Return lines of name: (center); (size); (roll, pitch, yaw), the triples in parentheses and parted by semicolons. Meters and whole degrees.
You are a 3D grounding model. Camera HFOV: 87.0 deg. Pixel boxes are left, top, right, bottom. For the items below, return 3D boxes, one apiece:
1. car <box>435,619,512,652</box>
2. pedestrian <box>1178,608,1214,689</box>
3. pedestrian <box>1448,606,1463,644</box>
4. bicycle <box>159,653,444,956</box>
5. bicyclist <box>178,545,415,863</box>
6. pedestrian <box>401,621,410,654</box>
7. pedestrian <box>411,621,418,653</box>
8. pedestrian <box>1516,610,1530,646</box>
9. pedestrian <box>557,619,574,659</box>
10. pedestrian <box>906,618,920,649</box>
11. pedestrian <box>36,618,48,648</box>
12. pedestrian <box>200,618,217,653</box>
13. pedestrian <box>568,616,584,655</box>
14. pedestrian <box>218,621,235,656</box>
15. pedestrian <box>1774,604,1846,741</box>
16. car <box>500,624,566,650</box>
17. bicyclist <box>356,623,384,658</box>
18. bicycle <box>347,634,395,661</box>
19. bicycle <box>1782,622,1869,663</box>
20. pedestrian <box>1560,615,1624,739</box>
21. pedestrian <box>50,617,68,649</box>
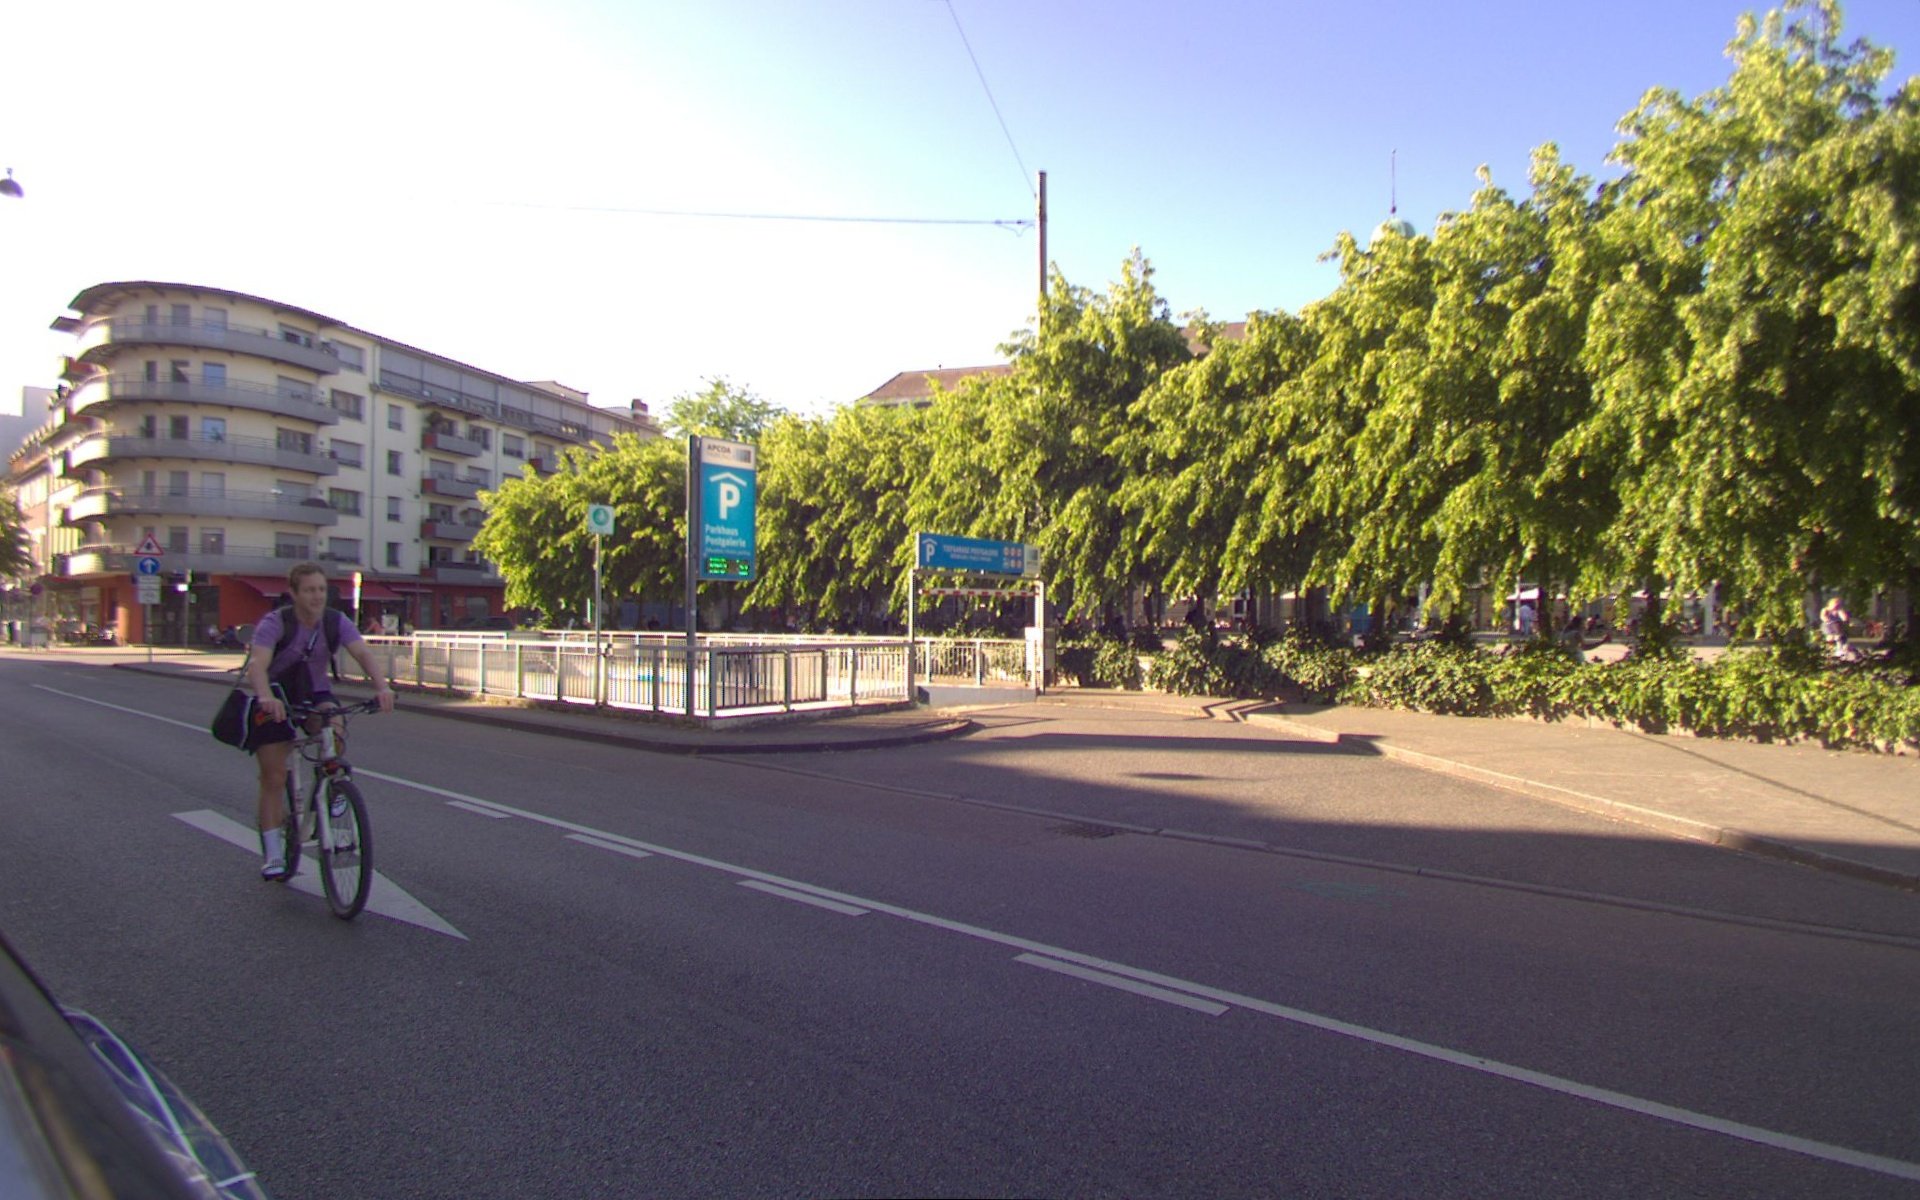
car: (-30.432, 2.203, 63.439); (1.938, 1.927, 4.403); (-1, -1, 16)
pedestrian: (5.551, 1.123, 23.798); (0.674, 1.870, 0.577); (-1, -1, 30)
pedestrian: (24.201, 1.210, 49.437); (0.599, 1.806, 0.576); (-1, -1, 31)
bicycle: (-3.446, 0.923, 5.237); (1.773, 1.242, 0.788); (-1, -1, 41)
bicyclist: (-3.442, 0.481, 5.244); (1.007, 1.445, 0.788); (-1, -1, 41)
pedestrian: (-29.109, 1.967, 53.114); (0.318, 1.680, 0.362); (0, -1, -17)
pedestrian: (-28.903, 1.967, 53.629); (0.266, 1.680, 0.362); (0, -1, -17)
pedestrian: (28.677, 1.440, 51.538); (0.598, 1.806, 0.577); (-1, -1, 27)
pedestrian: (-18.086, 1.786, 46.449); (0.574, 1.806, 0.602); (0, 0, -5)
pedestrian: (-2.711, 1.920, 58.157); (0.578, 1.806, 0.597); (-1, 0, 20)
pedestrian: (-47.363, 1.718, 52.230); (0.515, 1.541, 0.371); (-1, -1, 37)
pedestrian: (-37.737, 1.784, 50.841); (0.642, 1.721, 0.568); (-2, -2, 43)
pedestrian: (-17.898, 1.647, 47.191); (0.574, 1.806, 0.602); (0, 0, -5)
pedestrian: (-36.869, 1.927, 50.865); (0.642, 1.721, 0.568); (-2, -2, 43)
pedestrian: (11.959, 0.997, 14.259); (0.597, 1.870, 0.578); (-1, 0, 22)
car: (-28.887, 2.480, 68.610); (1.938, 1.633, 4.272); (-1, -1, 16)
bicyclist: (-28.180, 1.910, 48.368); (0.960, 1.627, 0.715); (0, 0, -10)
bicycle: (-28.159, 2.252, 48.370); (1.844, 1.221, 0.715); (-1, 0, -6)
bicycle: (23.508, 1.130, 27.529); (0.496, 1.024, 2.061); (-1, 0, -3)
pedestrian: (9.888, 1.171, 15.834); (0.732, 1.870, 0.574); (-1, -1, 44)
pedestrian: (-46.858, 1.714, 52.630); (0.792, 1.634, 0.563); (-1, -1, 37)
